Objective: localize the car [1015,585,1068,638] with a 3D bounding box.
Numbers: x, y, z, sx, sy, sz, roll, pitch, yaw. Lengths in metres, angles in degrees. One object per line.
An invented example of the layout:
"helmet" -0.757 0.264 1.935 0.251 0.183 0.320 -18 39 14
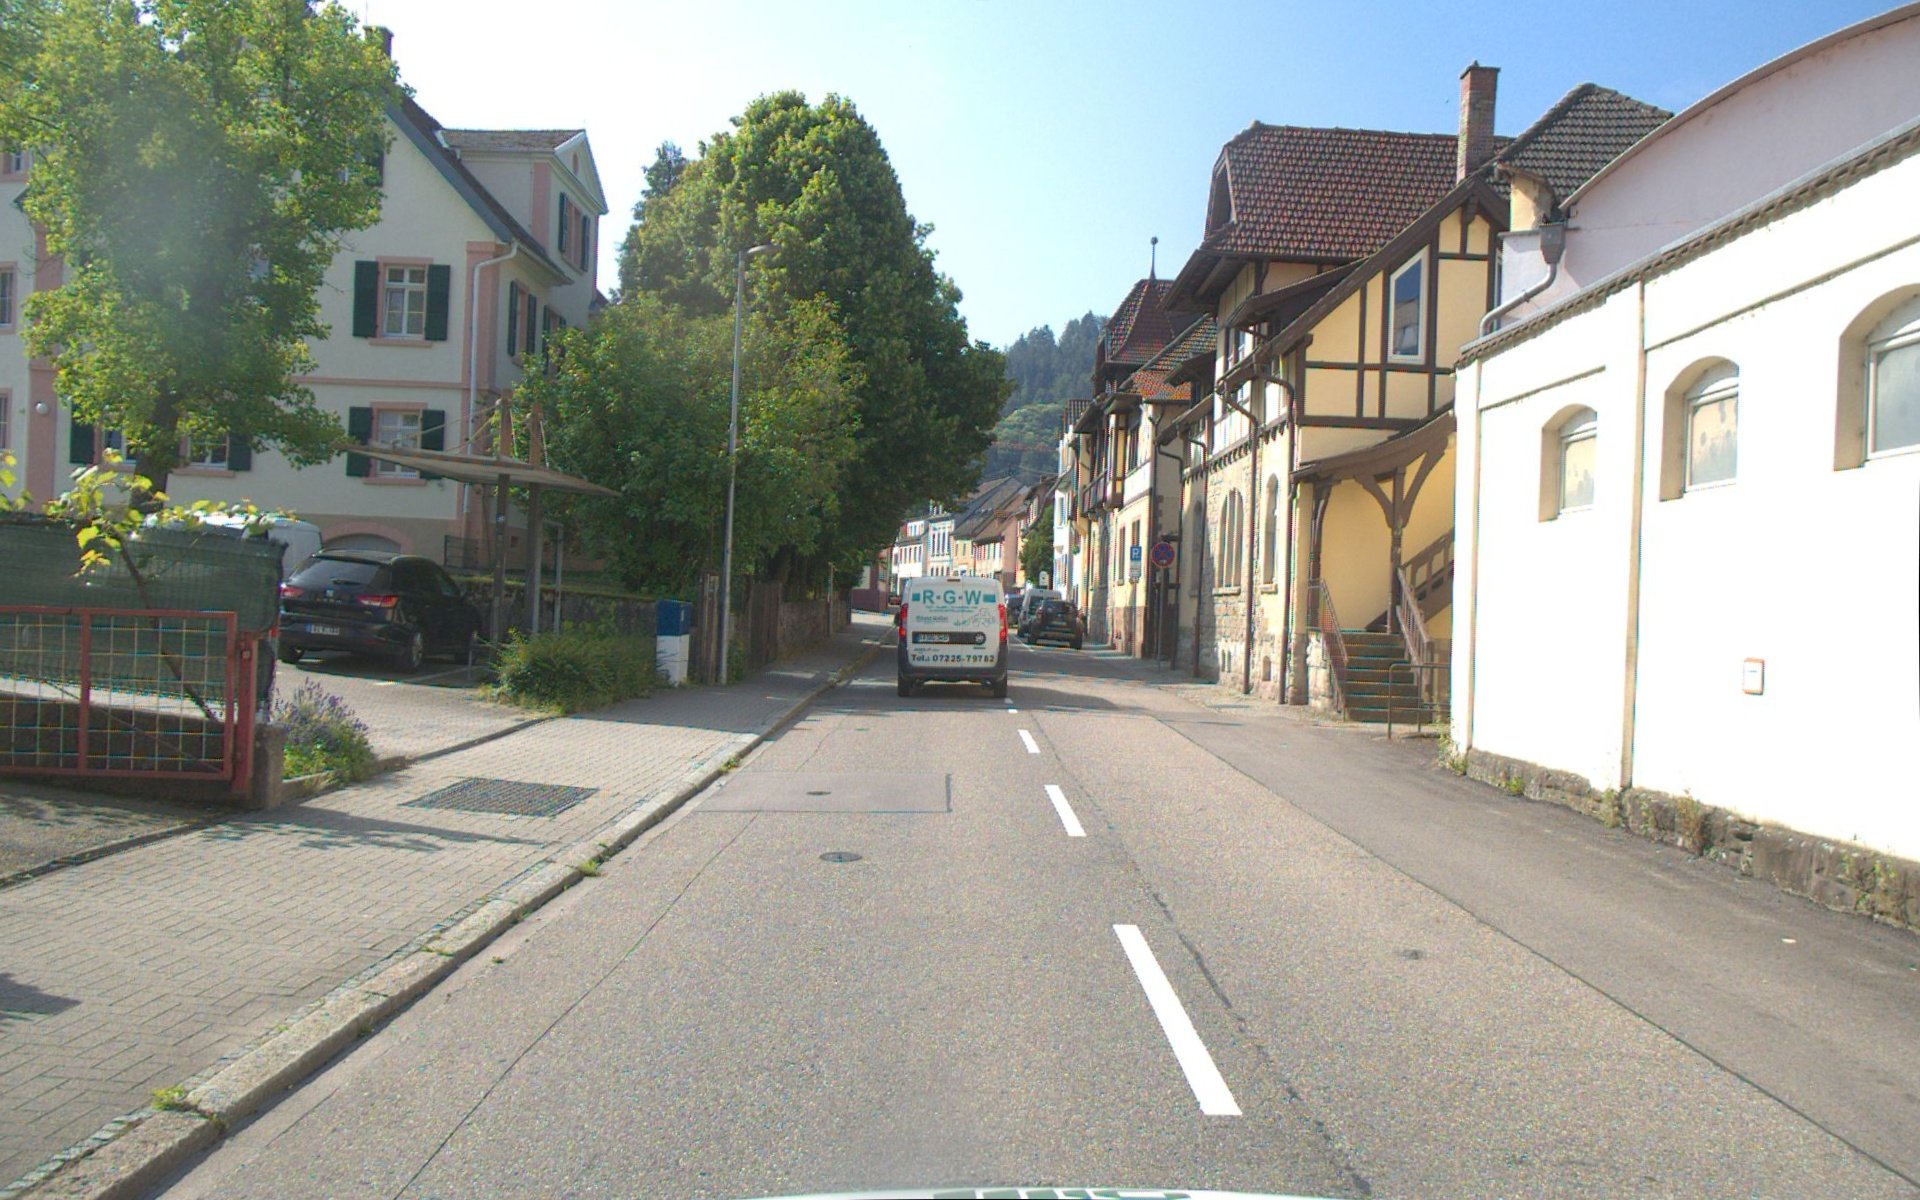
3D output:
"car" 3.321 0.458 68.149 1.833 2.048 3.999 3 0 -1

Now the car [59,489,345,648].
"car" -10.292 -0.397 22.905 1.787 1.803 4.680 6 0 -2

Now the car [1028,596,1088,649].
"car" 3.399 0.760 58.005 1.774 1.624 3.926 5 0 0

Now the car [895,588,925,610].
"car" -4.750 -0.100 156.800 1.959 1.813 3.988 4 0 -13

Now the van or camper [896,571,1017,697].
"van or camper" -0.101 0.515 27.158 1.791 1.877 4.187 1 0 -1

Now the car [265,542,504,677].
"car" -7.510 0.095 22.043 1.582 1.487 4.394 5 0 0

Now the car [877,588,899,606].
"car" -8.015 -0.326 183.749 1.740 1.830 3.989 2 0 -12

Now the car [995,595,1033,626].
"car" 2.718 0.522 84.489 1.636 1.534 3.998 2 0 -2
